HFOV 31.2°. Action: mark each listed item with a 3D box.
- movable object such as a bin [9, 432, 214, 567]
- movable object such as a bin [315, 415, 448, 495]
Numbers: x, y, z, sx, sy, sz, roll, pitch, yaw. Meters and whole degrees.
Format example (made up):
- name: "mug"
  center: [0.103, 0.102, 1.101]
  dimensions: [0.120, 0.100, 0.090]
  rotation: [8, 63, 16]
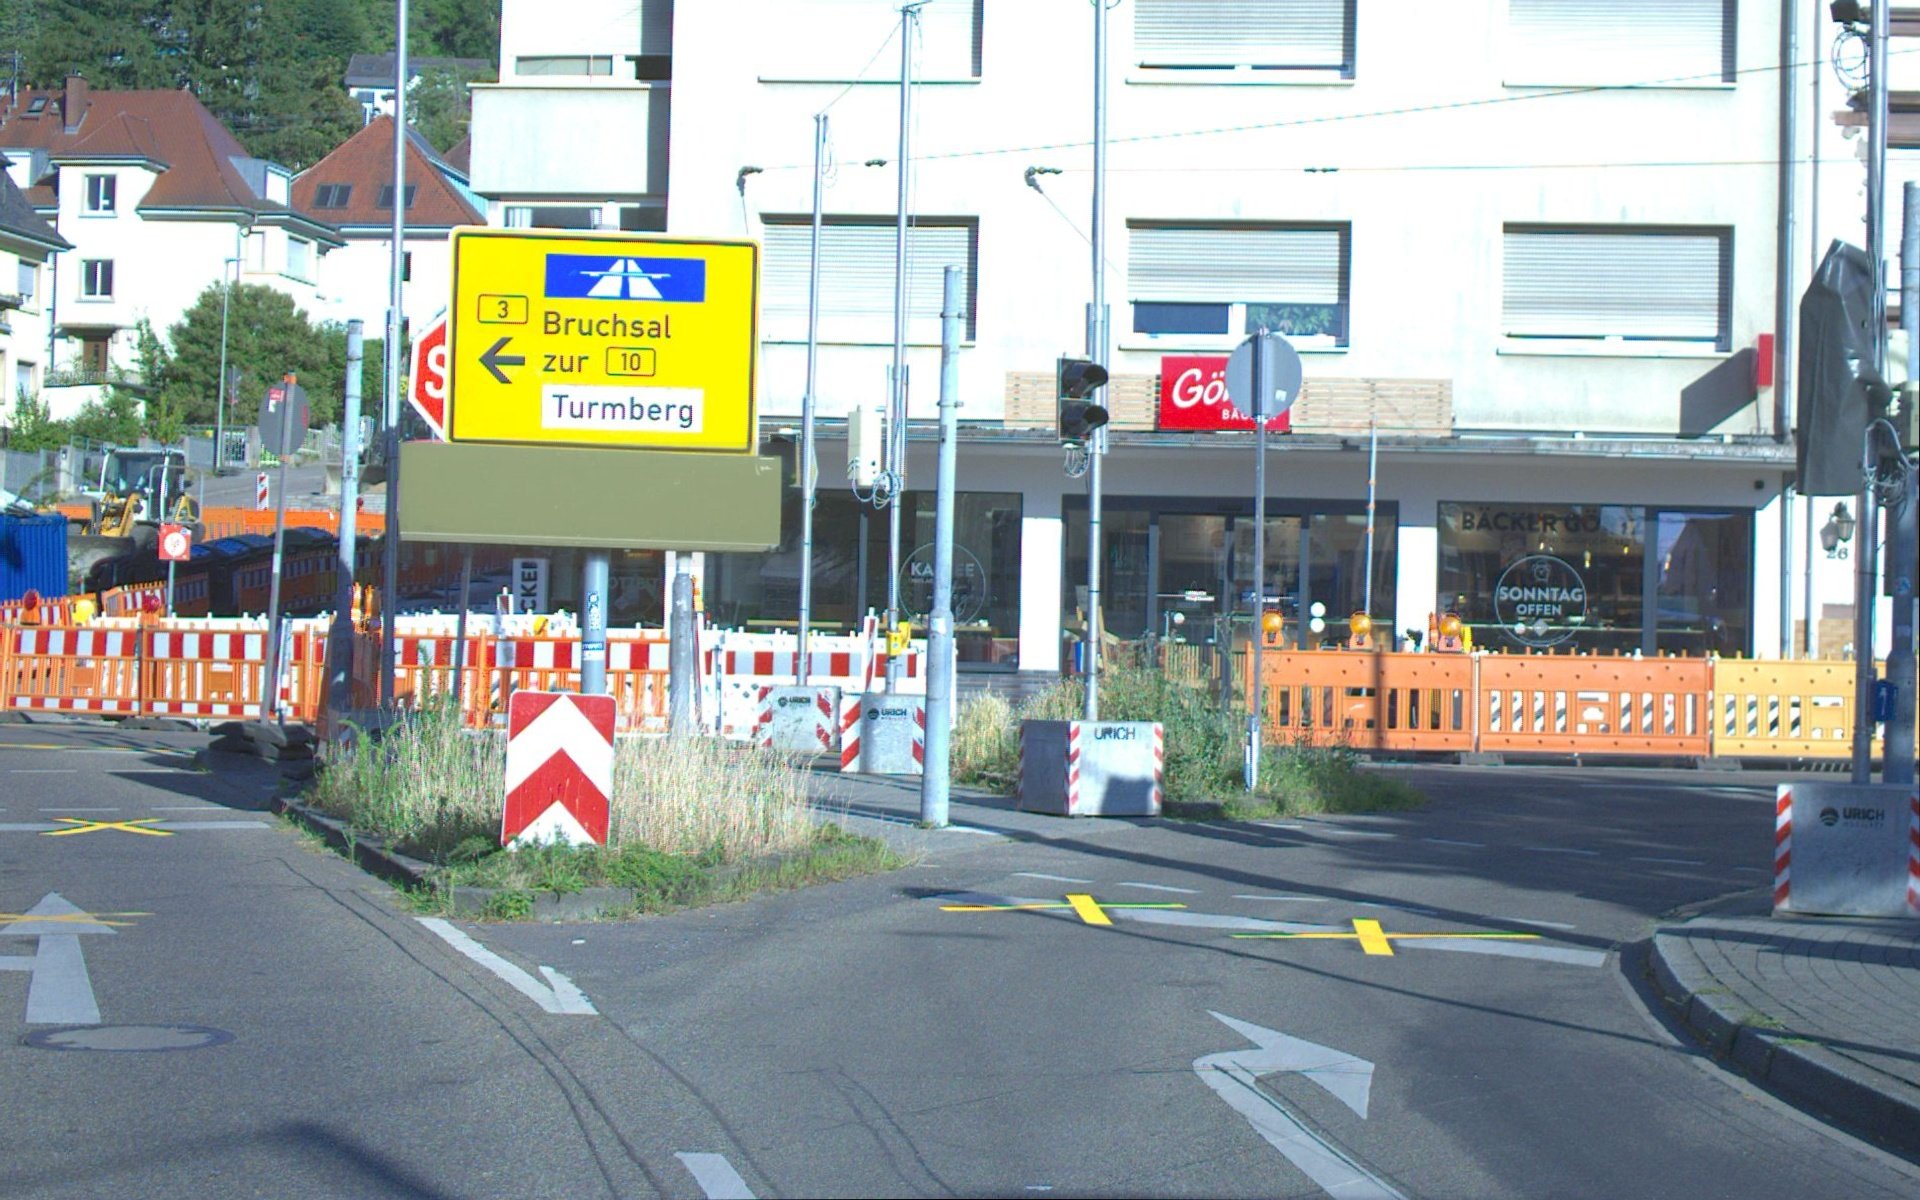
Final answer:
- name: "movable object such as a bin"
  center: [-16.667, -1.948, 67.758]
  dimensions: [1.950, 2.486, 4.548]
  rotation: [1, 0, 15]
- name: "movable object such as a bin"
  center: [-17.397, -4.348, 103.703]
  dimensions: [2.565, 2.114, 5.783]
  rotation: [1, 0, 5]
